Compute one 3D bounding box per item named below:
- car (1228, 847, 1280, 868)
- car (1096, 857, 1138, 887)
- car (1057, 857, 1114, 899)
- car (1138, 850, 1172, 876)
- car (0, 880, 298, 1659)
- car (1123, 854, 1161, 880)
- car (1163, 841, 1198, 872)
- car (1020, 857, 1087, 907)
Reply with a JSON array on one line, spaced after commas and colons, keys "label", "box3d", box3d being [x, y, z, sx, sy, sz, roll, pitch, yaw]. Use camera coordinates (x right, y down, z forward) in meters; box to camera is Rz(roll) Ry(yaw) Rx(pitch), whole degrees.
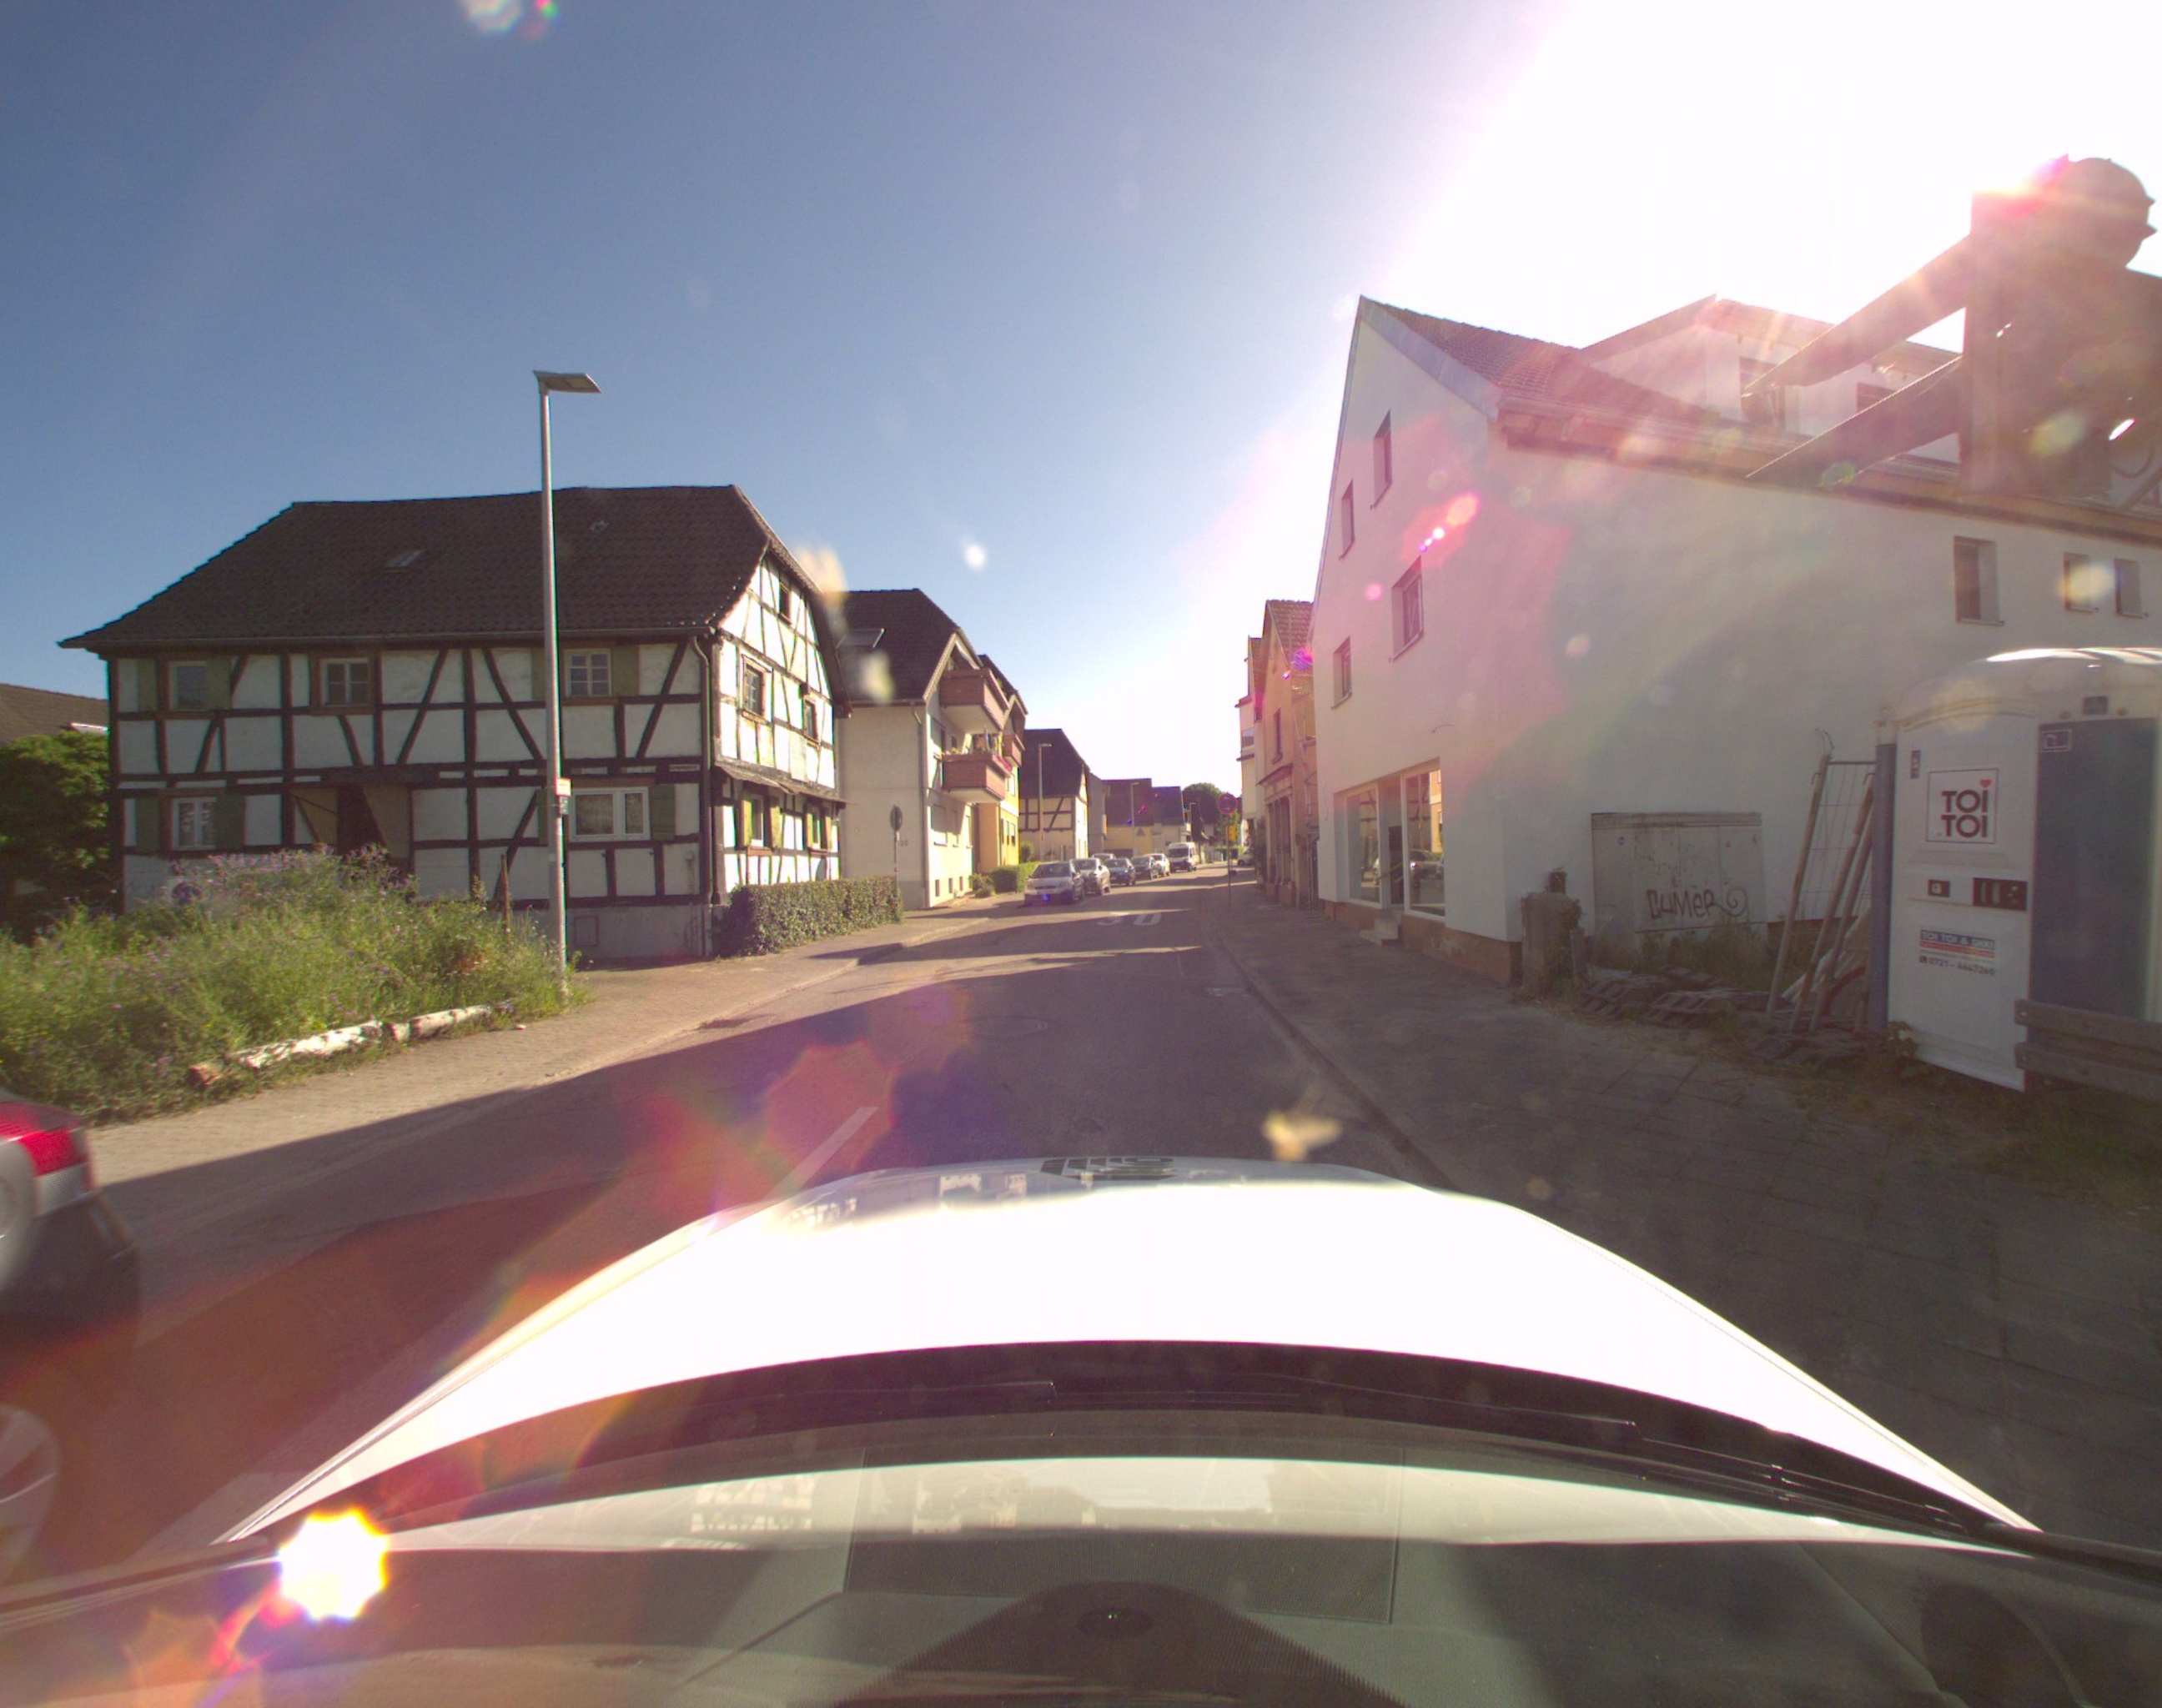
[{"label": "car", "box3d": [17.621, 0.355, 83.189, 4.718, 1.801, 1.939, -3, 0, 39]}, {"label": "car", "box3d": [1.898, 0.904, 42.233, 1.629, 1.441, 4.085, -3, -1, 9]}, {"label": "car", "box3d": [0.261, 0.928, 33.582, 1.664, 1.506, 4.105, -3, 0, 9]}, {"label": "car", "box3d": [5.137, 0.590, 56.137, 1.662, 1.572, 3.980, -4, 0, 13]}, {"label": "car", "box3d": [-3.017, 0.822, 0.376, 1.679, 1.510, 3.656, -1, -1, 2]}, {"label": "car", "box3d": [3.917, 0.792, 51.712, 1.691, 1.518, 4.137, -4, -1, 14]}, {"label": "car", "box3d": [8.410, 0.199, 68.647, 2.062, 2.394, 5.229, -3, -1, 15]}, {"label": "car", "box3d": [-0.890, 0.931, 28.399, 1.622, 1.506, 3.861, -3, 0, 8]}]
